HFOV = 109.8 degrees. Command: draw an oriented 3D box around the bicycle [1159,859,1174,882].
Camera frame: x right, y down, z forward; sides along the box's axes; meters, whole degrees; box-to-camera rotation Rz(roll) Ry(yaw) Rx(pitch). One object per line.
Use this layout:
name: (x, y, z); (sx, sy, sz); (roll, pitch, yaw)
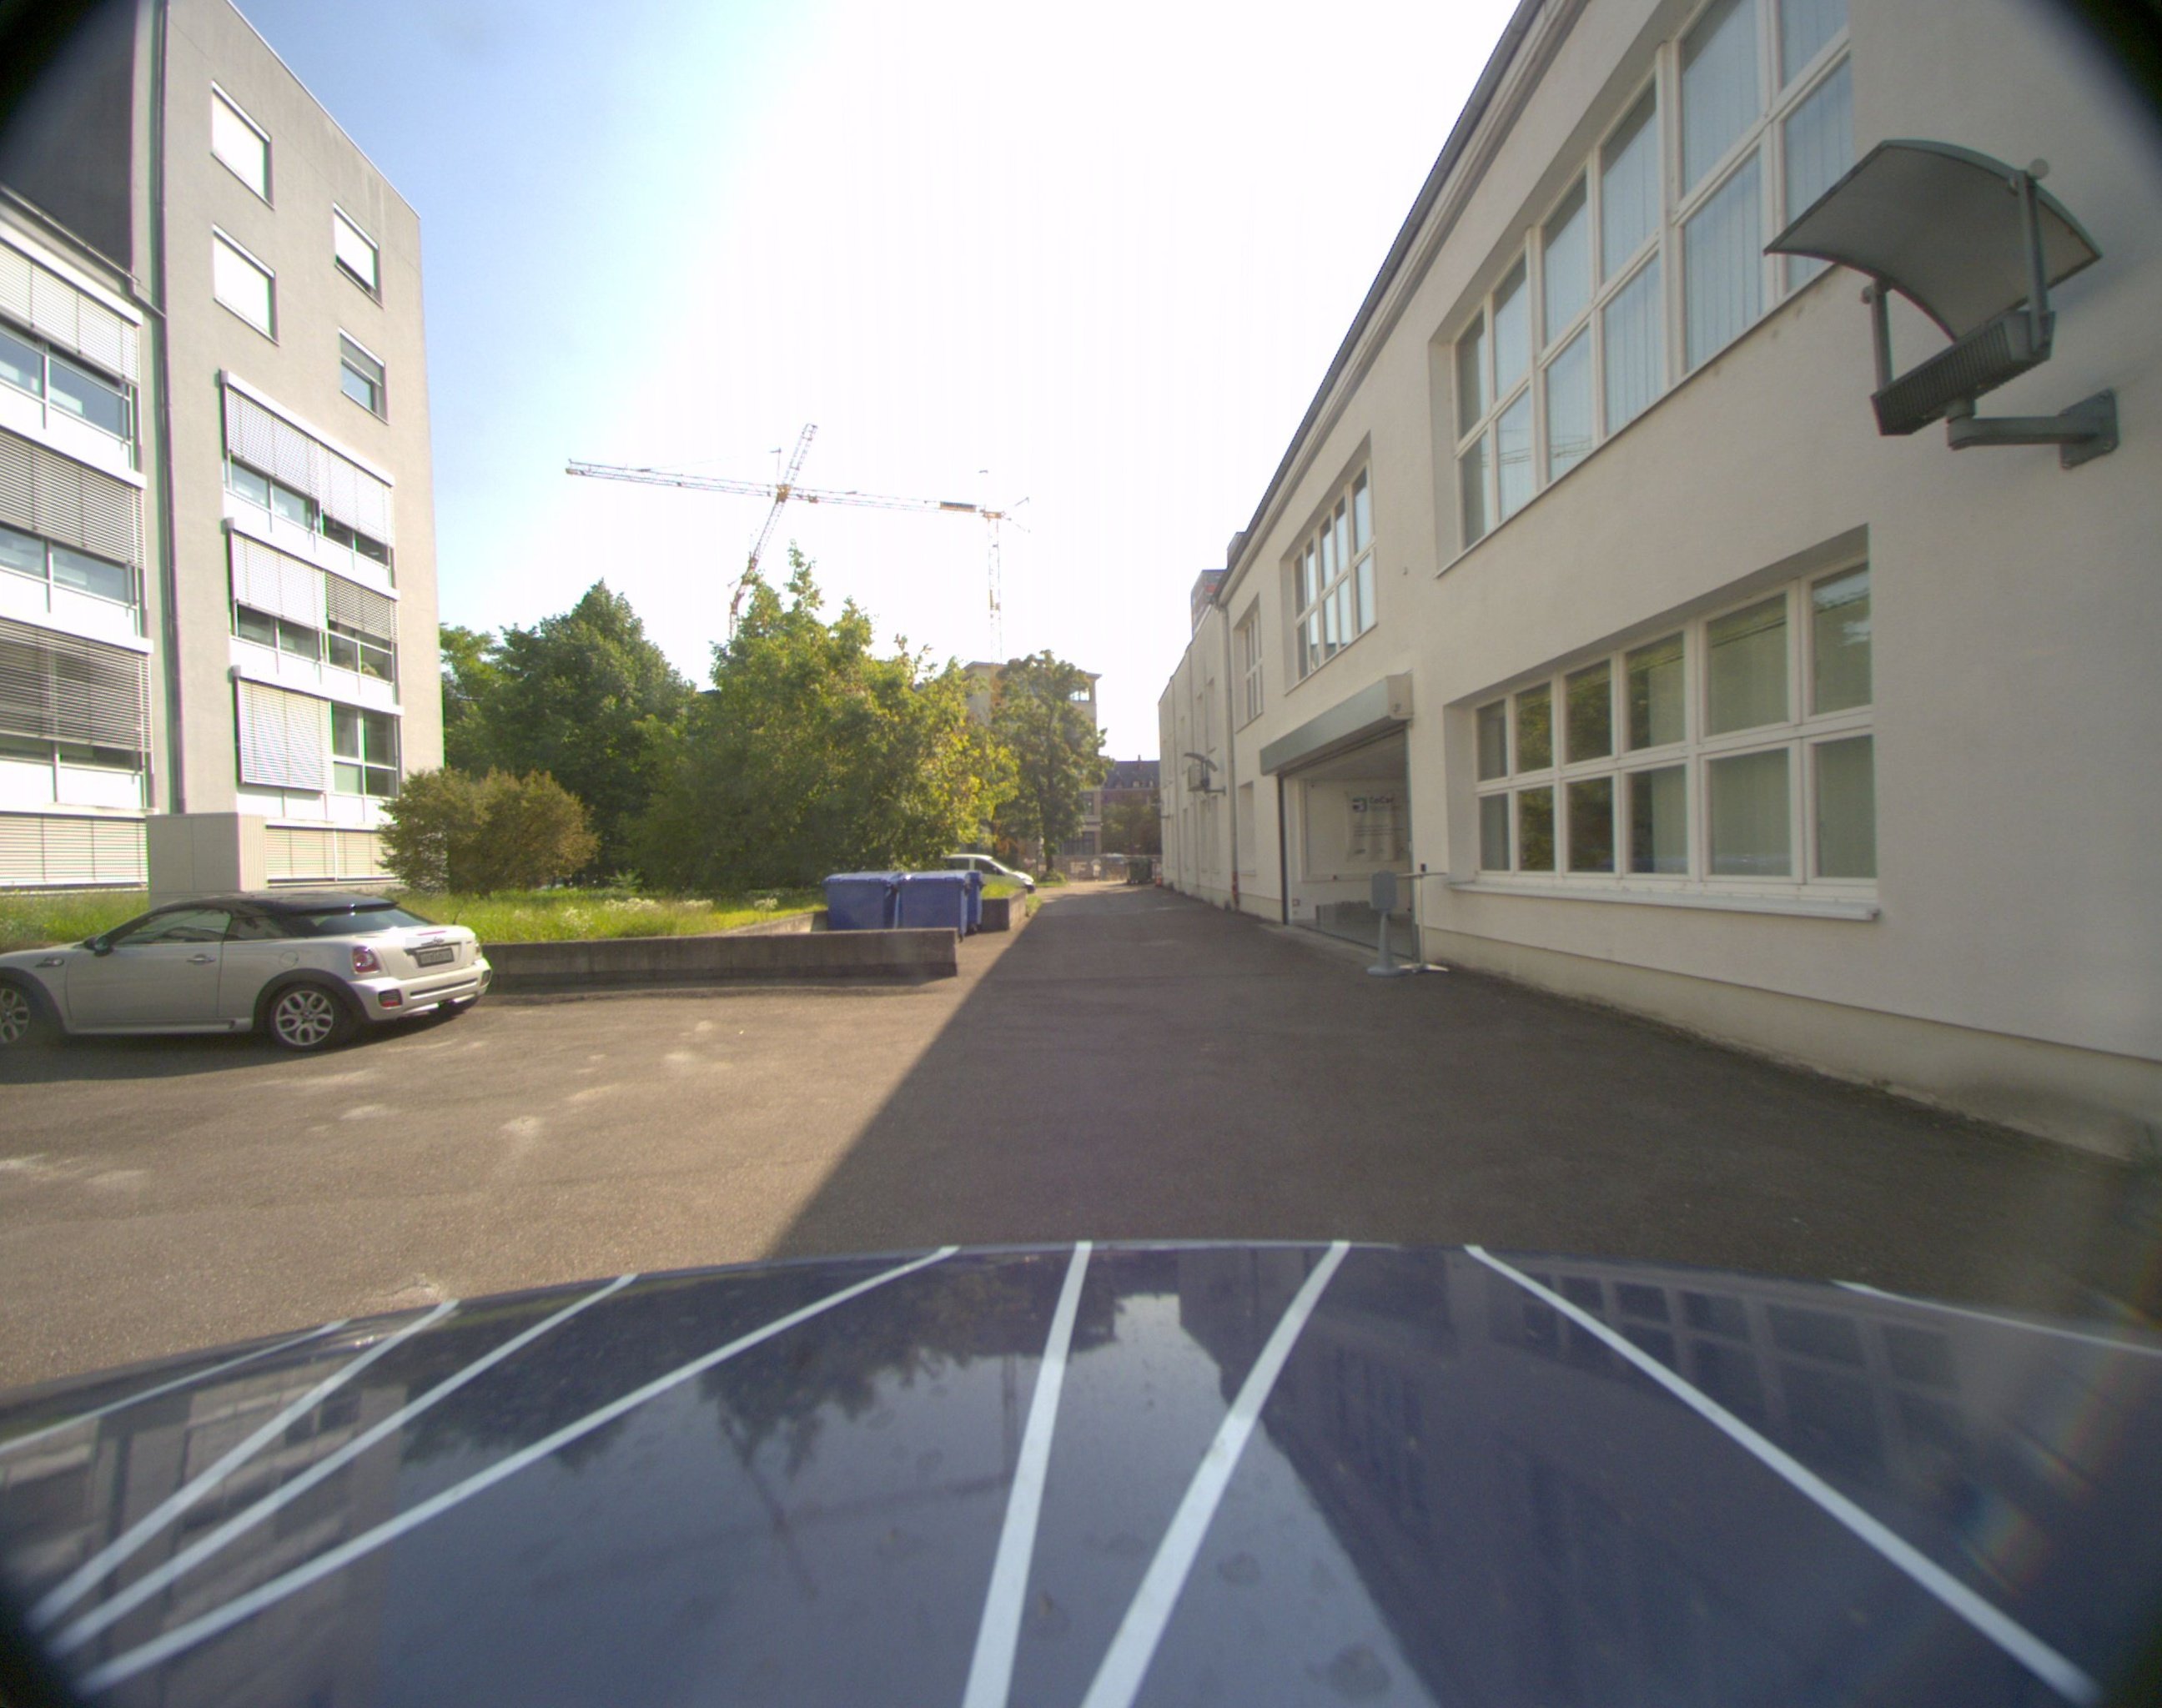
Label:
bicycle: (4.753, 0.914, 42.247); (0.477, 1.206, 2.008); (-2, 1, -2)

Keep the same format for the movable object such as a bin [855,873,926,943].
movable object such as a bin: (-3.950, 1.095, 15.876); (1.230, 1.333, 1.076); (-2, 1, -5)

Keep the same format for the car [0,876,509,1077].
car: (-8.027, 1.068, 7.305); (3.628, 1.536, 1.802); (2, 1, -2)

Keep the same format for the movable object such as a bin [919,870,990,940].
movable object such as a bin: (-2.616, 1.044, 15.872); (1.313, 1.333, 1.100); (-2, 1, -3)

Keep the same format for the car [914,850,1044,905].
car: (-4.117, 0.934, 31.270); (4.969, 1.910, 2.044); (-3, 1, 2)

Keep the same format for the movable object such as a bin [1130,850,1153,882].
movable object such as a bin: (3.369, 0.650, 42.510); (1.183, 1.696, 1.395); (-2, 1, 4)

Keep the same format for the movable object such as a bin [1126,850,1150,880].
movable object such as a bin: (3.369, 0.624, 45.316); (1.184, 1.696, 1.376); (-2, 1, -4)

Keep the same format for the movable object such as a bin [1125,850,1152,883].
movable object such as a bin: (3.061, 0.678, 40.708); (1.184, 1.696, 1.376); (-2, 1, -4)

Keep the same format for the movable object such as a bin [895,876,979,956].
movable object such as a bin: (-2.645, 1.113, 14.121); (1.303, 1.333, 1.194); (-2, 1, -1)

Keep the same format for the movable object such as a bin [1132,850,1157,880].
movable object such as a bin: (3.643, 0.626, 43.920); (1.184, 1.696, 1.376); (-2, 1, -4)

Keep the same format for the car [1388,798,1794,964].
car: (7.498, 0.368, 11.574); (4.759, 2.080, 2.055); (-3, 1, 0)

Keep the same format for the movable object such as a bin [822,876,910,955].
movable object such as a bin: (-3.976, 1.113, 14.158); (1.237, 1.333, 1.117); (-2, 1, 3)
